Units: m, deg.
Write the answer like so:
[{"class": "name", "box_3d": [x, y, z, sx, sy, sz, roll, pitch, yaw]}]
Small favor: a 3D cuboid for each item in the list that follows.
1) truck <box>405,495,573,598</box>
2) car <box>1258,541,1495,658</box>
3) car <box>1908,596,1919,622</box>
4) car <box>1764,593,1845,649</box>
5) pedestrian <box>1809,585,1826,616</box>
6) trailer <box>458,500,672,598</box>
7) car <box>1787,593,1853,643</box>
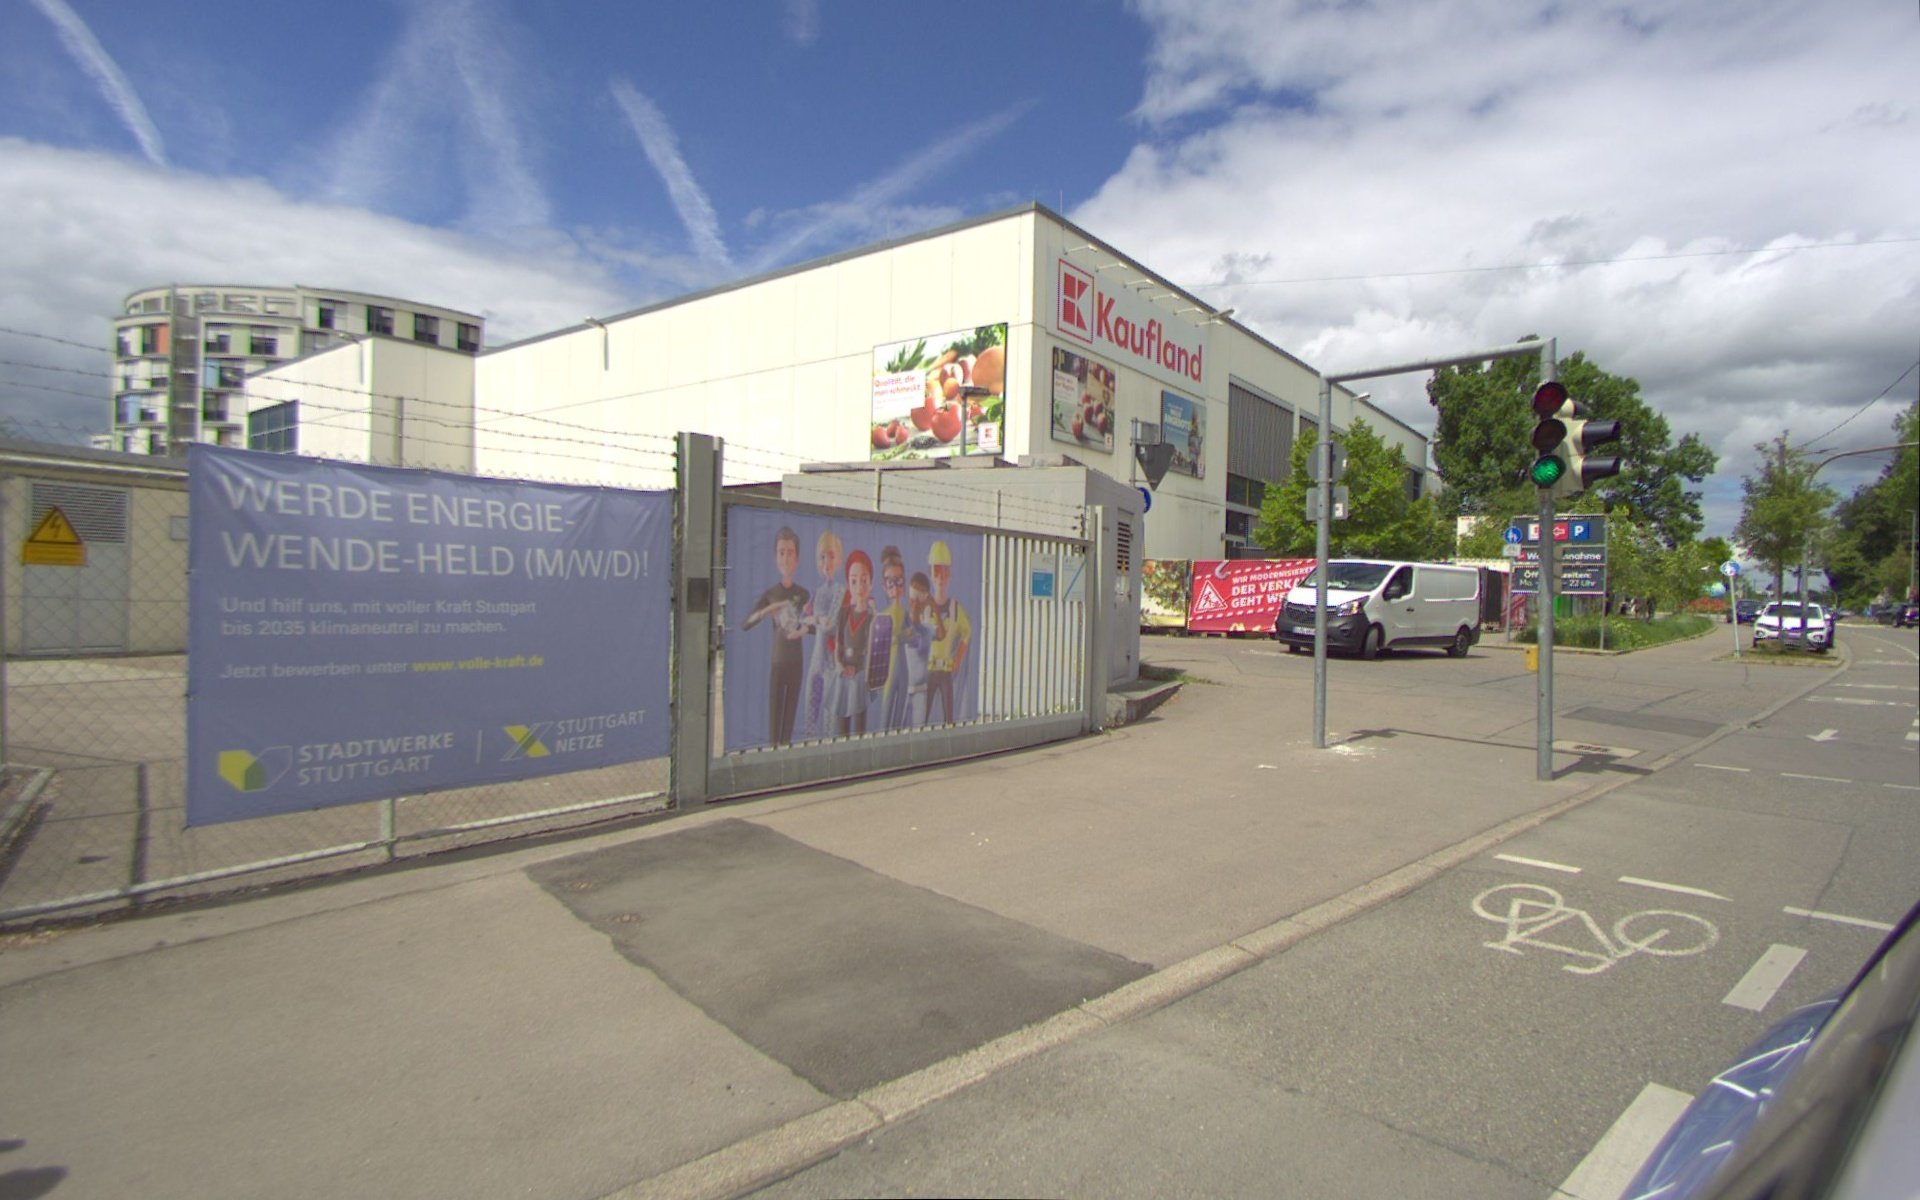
[{"class": "truck", "box_3d": [-19.281, -2.042, 41.742, 2.586, 3.911, 5.831, 0, 0, 35]}, {"class": "car", "box_3d": [8.549, -0.023, 20.553, 5.253, 2.048, 2.000, 1, 3, -38]}, {"class": "car", "box_3d": [61.523, 0.552, 63.982, 1.840, 1.574, 3.898, 0, 0, 36]}, {"class": "car", "box_3d": [26.731, 0.609, 32.013, 1.789, 1.549, 3.863, 4, 3, 41]}, {"class": "pedestrian", "box_3d": [57.065, 0.045, 67.352, 0.711, 2.039, 0.699, 0, -1, -39]}, {"class": "trailer", "box_3d": [-17.176, -2.052, 44.796, 2.586, 3.911, 8.952, 0, 0, 35]}, {"class": "car", "box_3d": [30.608, 0.606, 35.999, 1.598, 1.580, 3.733, 5, 3, 42]}]
